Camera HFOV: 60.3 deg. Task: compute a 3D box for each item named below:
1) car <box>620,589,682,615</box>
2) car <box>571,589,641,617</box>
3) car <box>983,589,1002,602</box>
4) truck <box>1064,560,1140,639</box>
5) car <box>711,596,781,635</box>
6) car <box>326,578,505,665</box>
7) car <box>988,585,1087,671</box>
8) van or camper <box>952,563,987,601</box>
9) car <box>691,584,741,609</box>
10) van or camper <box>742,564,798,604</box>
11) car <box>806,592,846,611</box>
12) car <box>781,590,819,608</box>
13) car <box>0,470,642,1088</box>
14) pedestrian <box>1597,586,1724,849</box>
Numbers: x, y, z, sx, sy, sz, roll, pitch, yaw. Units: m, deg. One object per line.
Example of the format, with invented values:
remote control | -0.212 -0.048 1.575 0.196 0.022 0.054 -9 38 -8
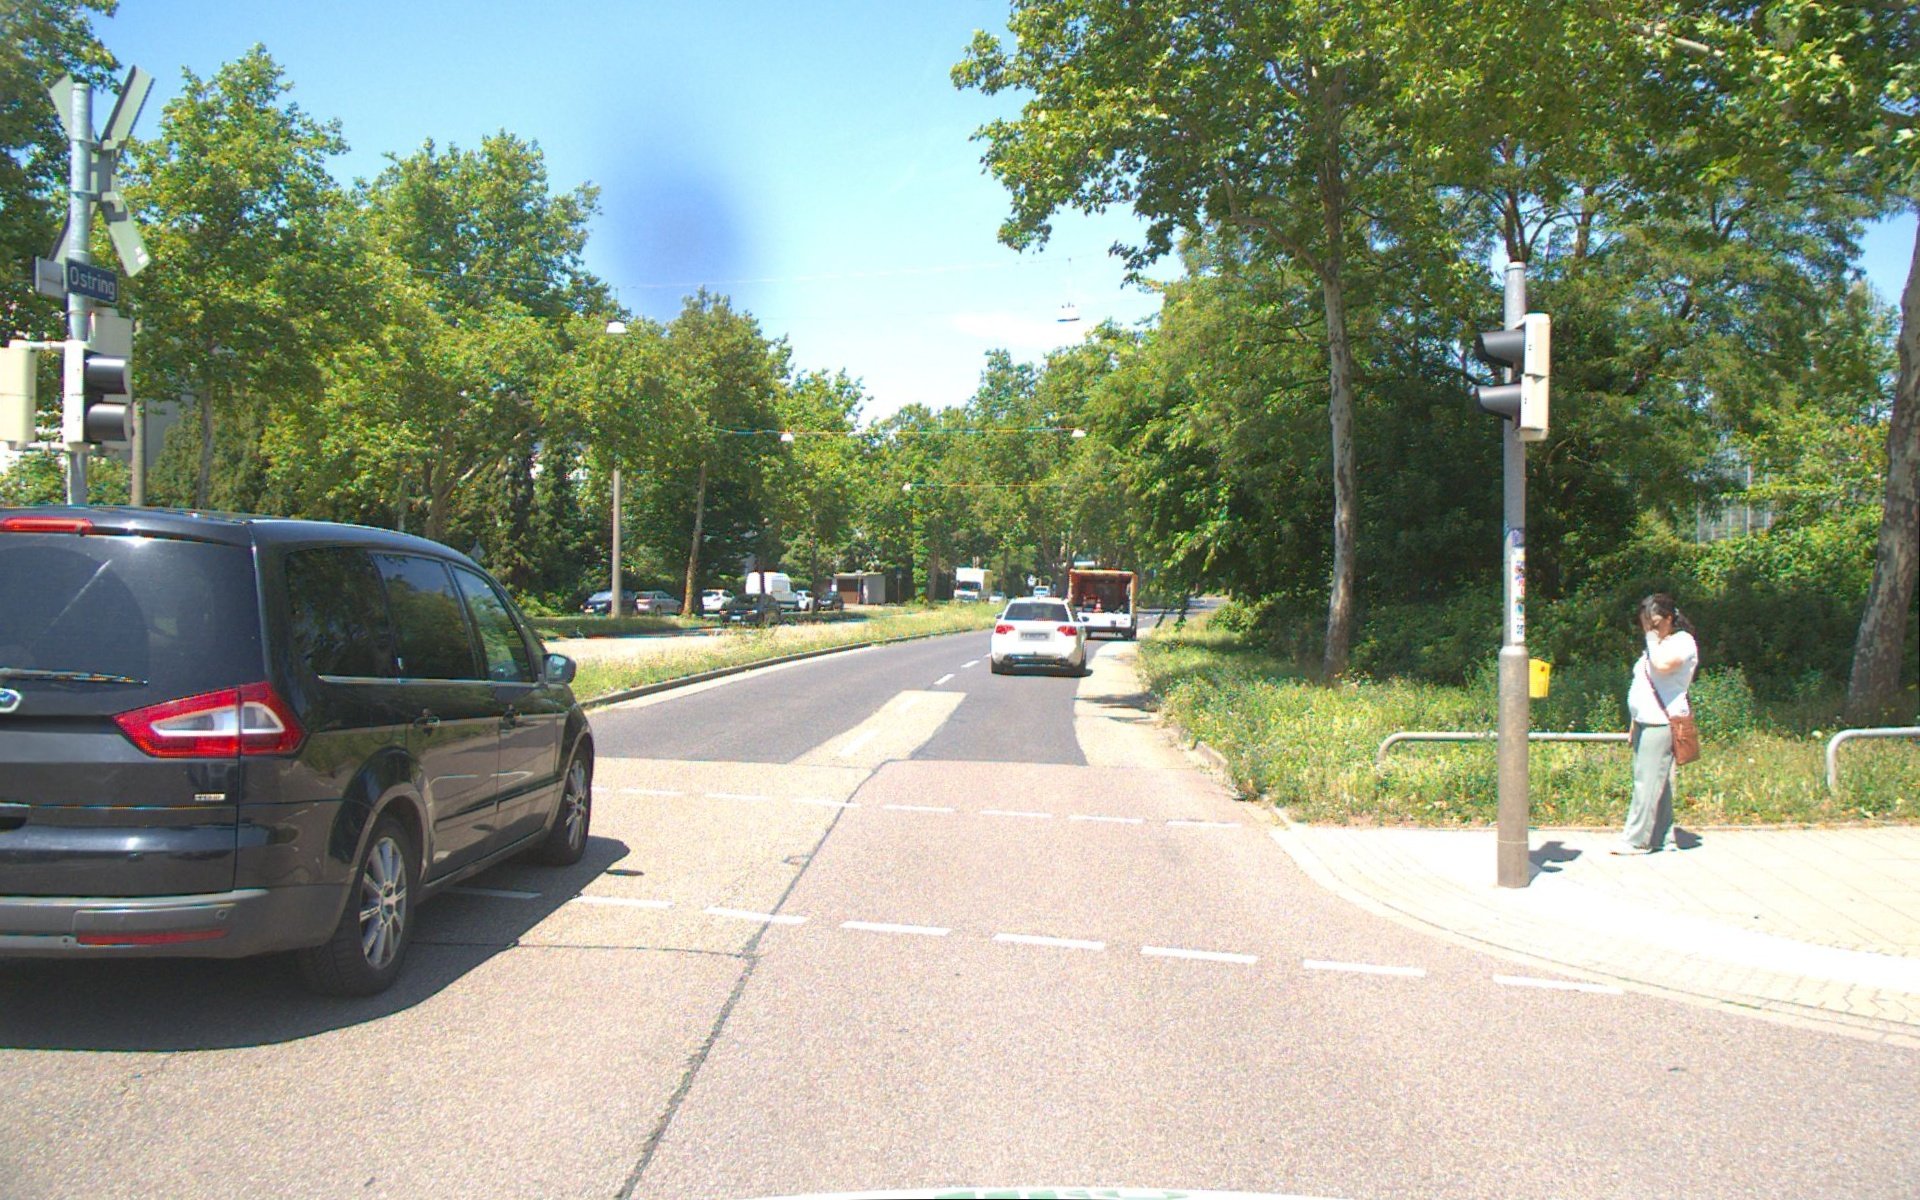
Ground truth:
car | -17.421 0.102 93.451 1.842 1.400 4.003 1 1 16
car | -18.789 0.151 87.902 1.842 1.417 4.002 1 1 18
car | 3.286 -0.496 166.511 1.874 1.231 4.336 0 1 2
truck | 5.288 -0.084 60.521 2.458 2.604 7.609 2 1 7
car | -9.010 0.617 69.901 1.773 1.533 4.597 0 1 8
car | -9.721 0.358 29.873 1.700 1.419 4.179 -1 0 2
car | 1.540 0.496 31.744 1.725 1.470 3.618 3 0 5
van or camper | 0.889 -1.616 151.963 2.604 3.389 5.504 1 0 6
car | -15.193 -0.254 103.094 1.841 1.500 4.004 1 1 12
van or camper | -12.892 -1.095 112.462 2.136 2.632 5.313 0 1 12
car | -10.055 0.101 124.630 1.790 1.415 3.950 1 1 15
car | -11.462 -0.085 118.830 1.657 1.306 3.806 1 1 11
car | -2.828 0.485 7.181 1.815 1.786 4.650 1 1 2
pedestrian | 4.168 0.672 9.870 0.541 1.510 0.630 1 0 8
